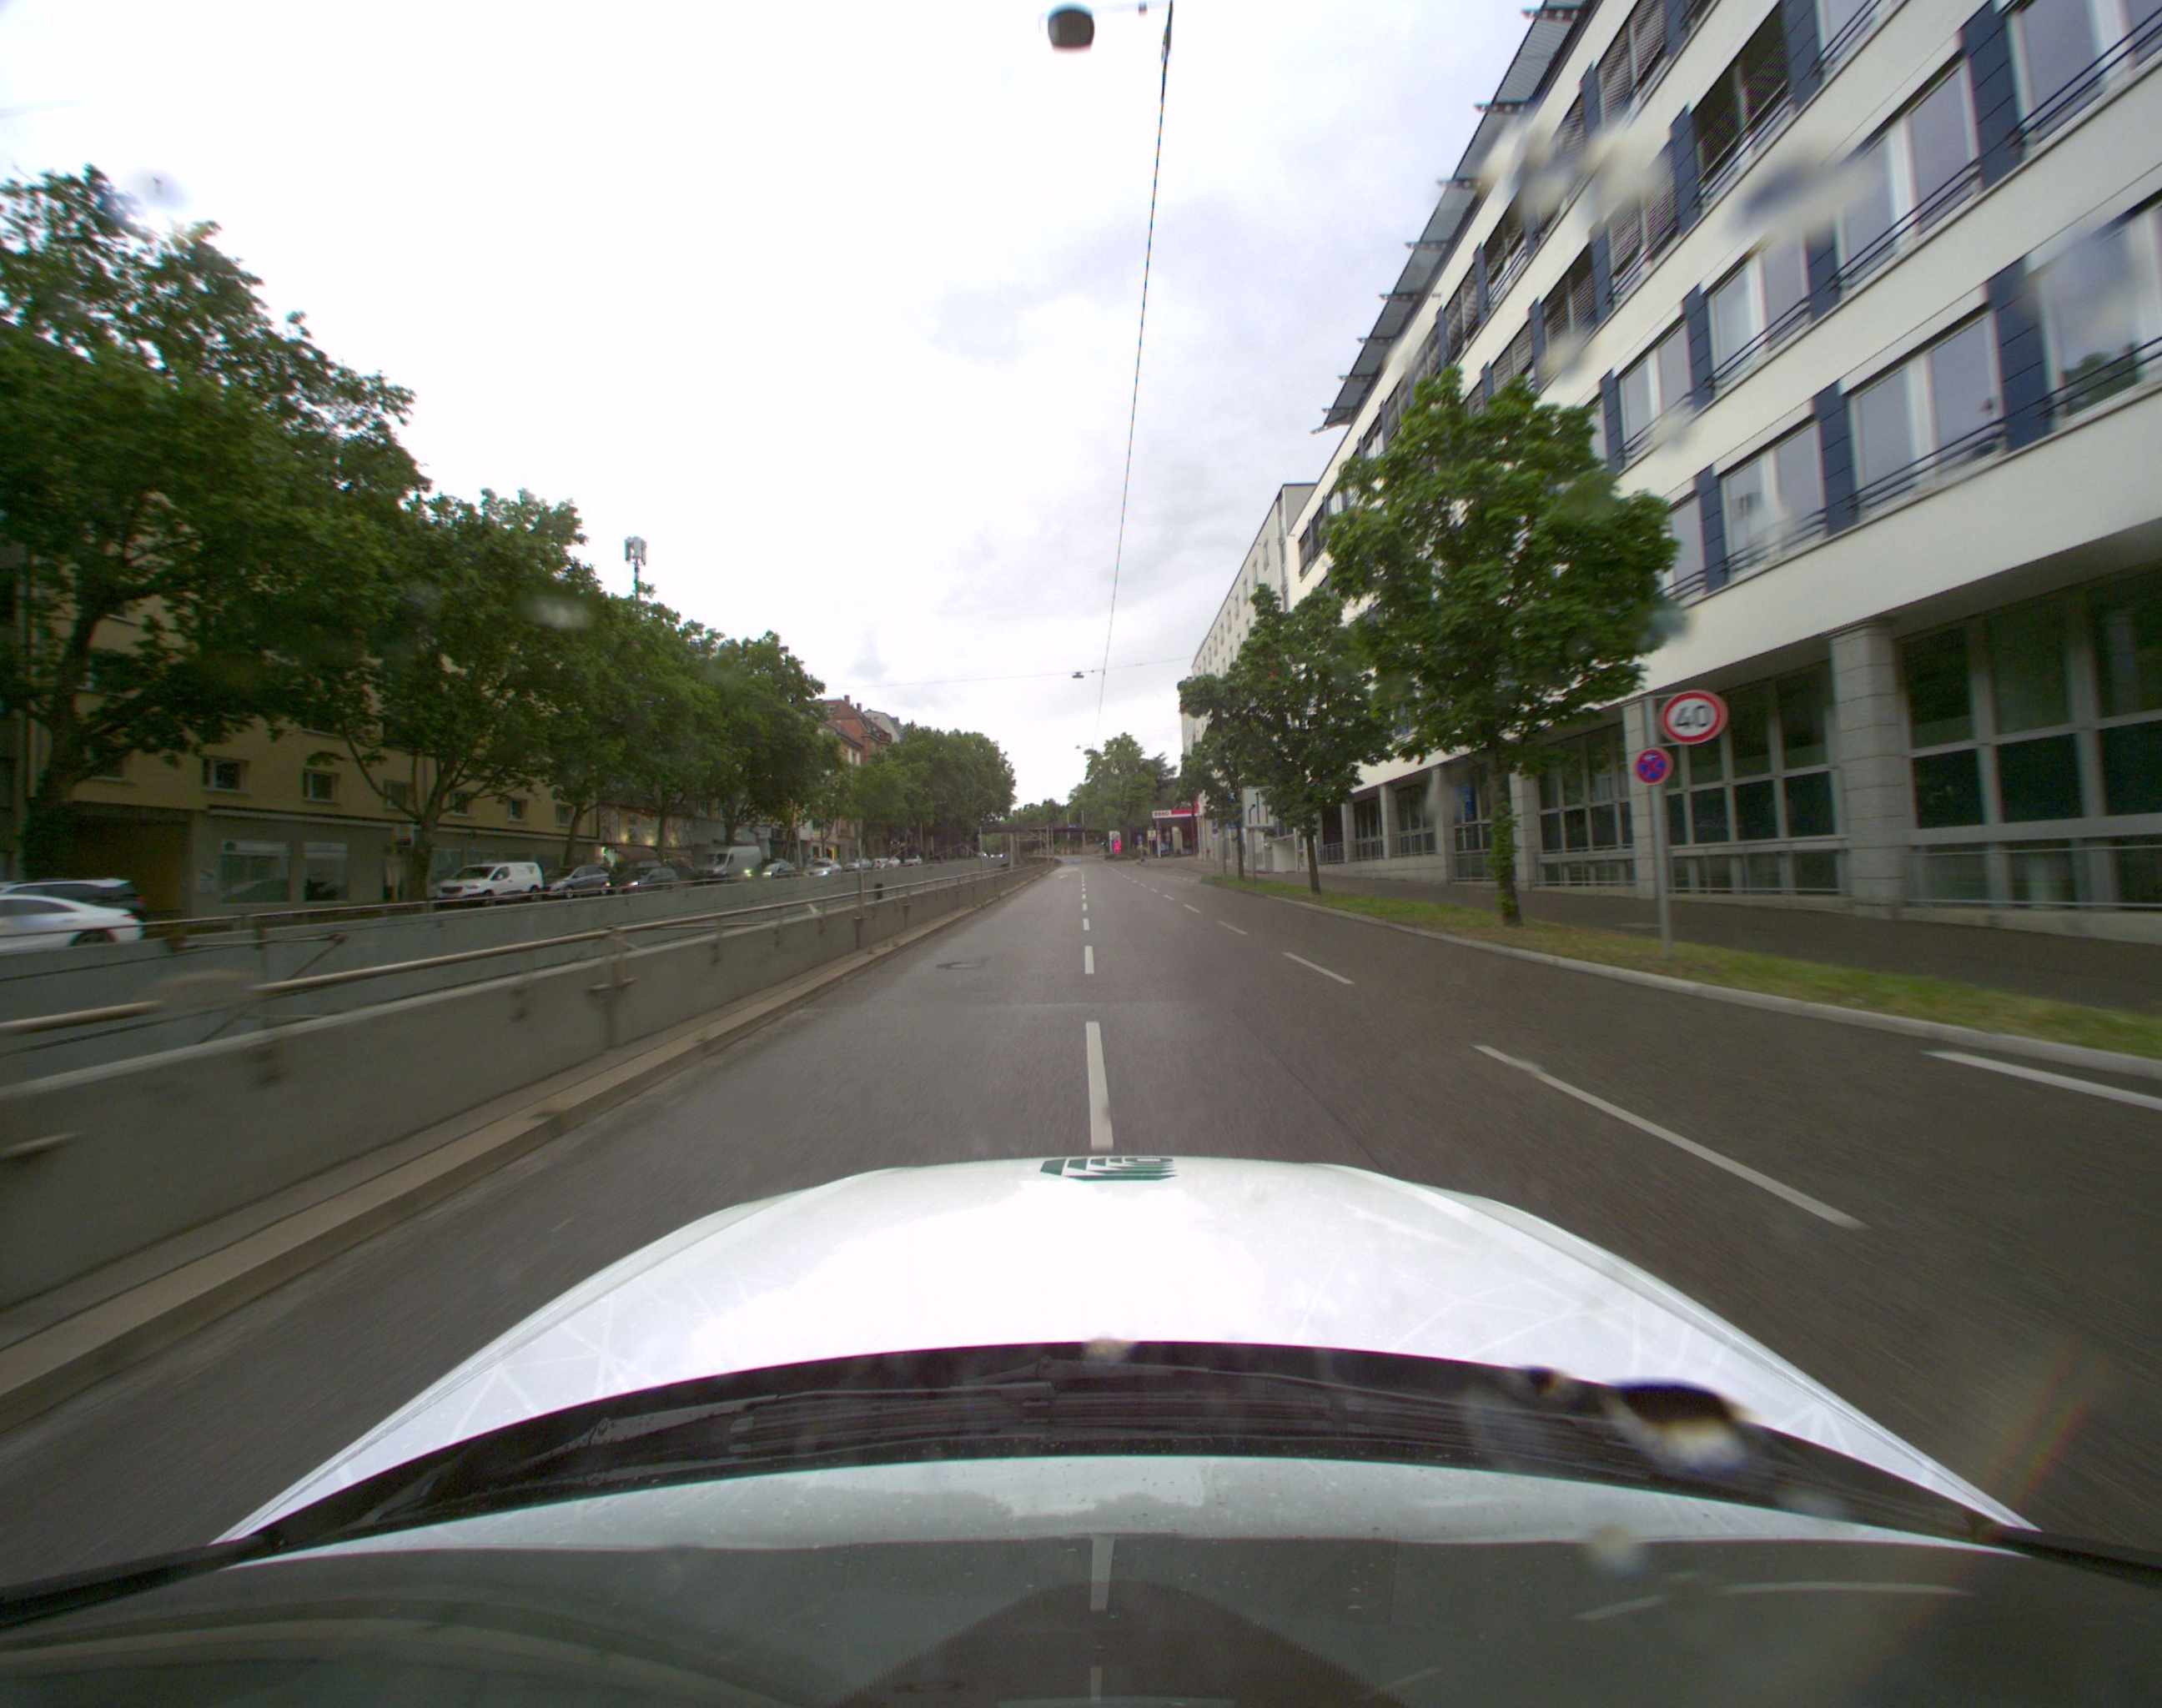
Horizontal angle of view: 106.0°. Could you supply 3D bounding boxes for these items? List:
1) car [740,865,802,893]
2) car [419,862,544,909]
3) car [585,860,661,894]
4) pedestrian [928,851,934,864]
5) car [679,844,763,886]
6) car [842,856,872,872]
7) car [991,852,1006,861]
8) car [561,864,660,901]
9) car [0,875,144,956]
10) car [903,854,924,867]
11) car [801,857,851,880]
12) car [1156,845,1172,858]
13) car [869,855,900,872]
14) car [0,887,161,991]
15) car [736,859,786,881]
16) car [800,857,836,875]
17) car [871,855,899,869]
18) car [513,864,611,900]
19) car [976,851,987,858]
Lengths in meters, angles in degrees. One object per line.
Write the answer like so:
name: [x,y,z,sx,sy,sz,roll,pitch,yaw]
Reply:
car: [-18.233,1.436,48.117,1.787,1.510,4.346,-2,-1,2]
car: [-25.657,1.275,35.106,1.872,1.764,4.897,-1,0,-2]
car: [-24.964,1.216,44.550,1.789,1.729,4.204,-1,0,-1]
pedestrian: [-23.822,0.542,129.096,0.666,2.014,0.935,-1,-1,4]
car: [-24.748,0.675,56.372,2.443,2.662,6.934,-1,0,2]
car: [-23.281,1.020,84.680,1.787,1.510,4.210,-1,0,2]
car: [-14.399,0.354,142.451,2.020,1.510,4.881,-1,0,0]
car: [-21.897,1.298,38.120,1.685,1.550,4.075,-1,0,11]
car: [-23.341,1.331,17.447,1.787,1.580,4.018,-1,0,2]
car: [-22.014,0.798,106.960,1.788,1.611,4.113,-1,0,1]
car: [-18.210,1.012,58.297,1.839,1.510,4.824,-1,0,2]
car: [11.626,-0.331,113.783,1.762,1.623,3.876,-5,-1,9]
car: [-19.586,0.934,81.169,1.838,1.510,4.021,-1,0,4]
car: [-20.097,1.569,14.565,1.787,1.770,4.734,-2,-1,2]
car: [-24.465,1.188,62.402,1.787,1.510,4.674,-1,0,2]
car: [-23.923,1.062,74.195,1.787,1.571,4.210,-1,0,2]
car: [-22.651,0.899,94.273,1.920,1.601,5.201,-1,0,2]
car: [-25.358,1.321,39.997,1.870,1.583,4.473,-1,0,0]
car: [-24.752,0.077,203.236,1.948,1.852,4.971,-1,0,3]
